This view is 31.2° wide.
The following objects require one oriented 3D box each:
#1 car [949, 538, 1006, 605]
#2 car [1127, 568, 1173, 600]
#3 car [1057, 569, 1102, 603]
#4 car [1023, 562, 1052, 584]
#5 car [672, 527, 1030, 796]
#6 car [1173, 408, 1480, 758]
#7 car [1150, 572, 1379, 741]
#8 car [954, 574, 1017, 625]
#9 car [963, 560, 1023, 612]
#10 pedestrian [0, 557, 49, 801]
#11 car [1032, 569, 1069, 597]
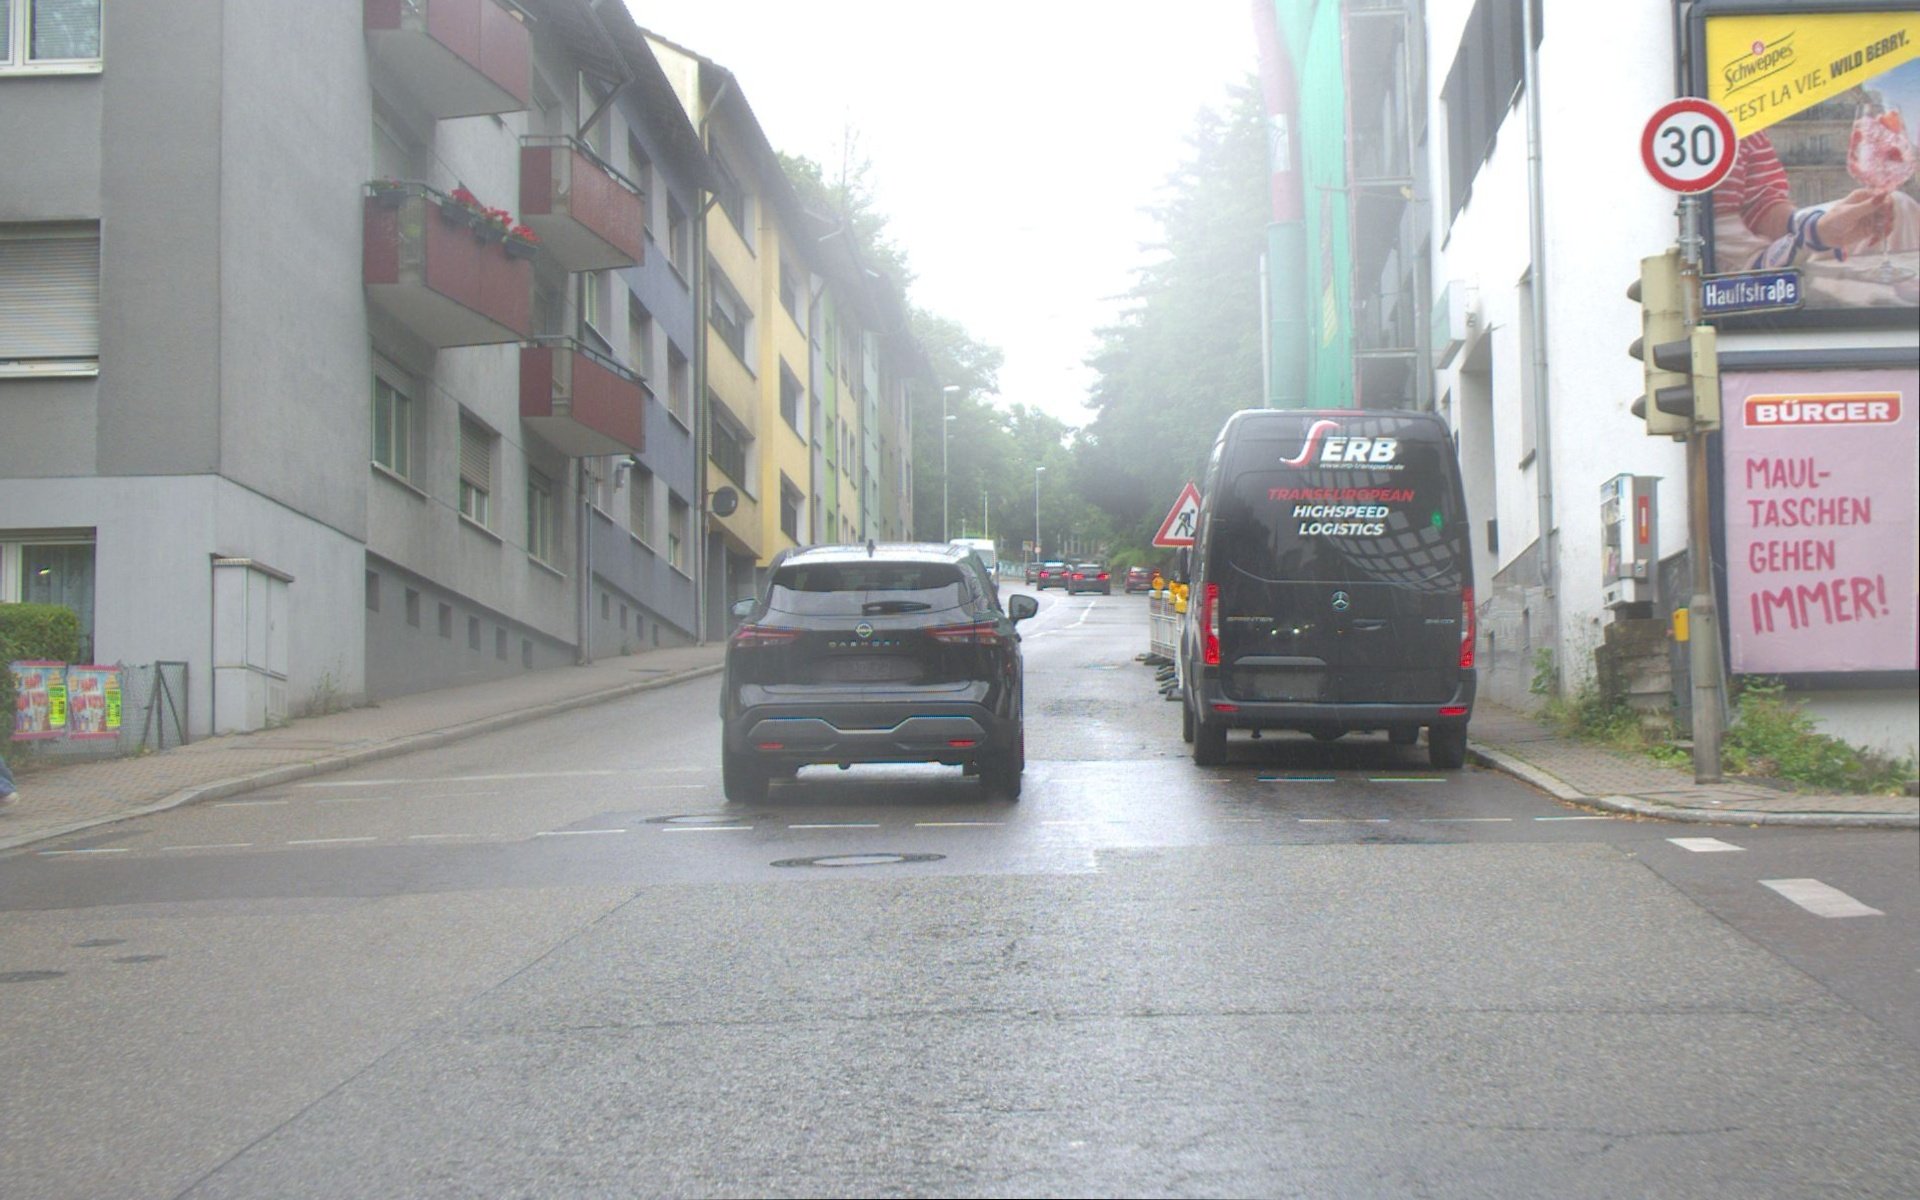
[{"bbox_3d":[0.700,-1.103,130.498,1.990,2.466,5.784,-1,1,1],"label":"car"},{"bbox_3d":[9.577,-0.805,173.520,2.074,1.554,4.000,0,1,-1],"label":"car"},{"bbox_3d":[5.630,-0.663,161.999,2.074,1.554,4.000,0,1,1],"label":"car"},{"bbox_3d":[5.589,-1.972,248.828,2.074,1.554,4.000,0,1,2],"label":"car"},{"bbox_3d":[-0.605,0.316,22.177,1.994,1.554,4.000,1,1,3],"label":"car"},{"bbox_3d":[2.721,-0.050,26.748,1.994,2.406,5.835,1,-1,3],"label":"car"},{"bbox_3d":[2.867,0.505,33.208,1.994,1.507,4.337,1,0,3],"label":"car"},{"bbox_3d":[0.865,-0.042,113.241,1.990,1.579,4.305,-1,1,2],"label":"car"},{"bbox_3d":[1.177,-0.513,121.013,1.990,1.749,4.480,-1,1,2],"label":"car"},{"bbox_3d":[-6.470,0.504,22.184,0.869,1.536,1.087,1,-2,0],"label":"pedestrian"},{"bbox_3d":[5.142,-0.977,194.834,2.074,1.554,4.000,0,1,2],"label":"car"}]
